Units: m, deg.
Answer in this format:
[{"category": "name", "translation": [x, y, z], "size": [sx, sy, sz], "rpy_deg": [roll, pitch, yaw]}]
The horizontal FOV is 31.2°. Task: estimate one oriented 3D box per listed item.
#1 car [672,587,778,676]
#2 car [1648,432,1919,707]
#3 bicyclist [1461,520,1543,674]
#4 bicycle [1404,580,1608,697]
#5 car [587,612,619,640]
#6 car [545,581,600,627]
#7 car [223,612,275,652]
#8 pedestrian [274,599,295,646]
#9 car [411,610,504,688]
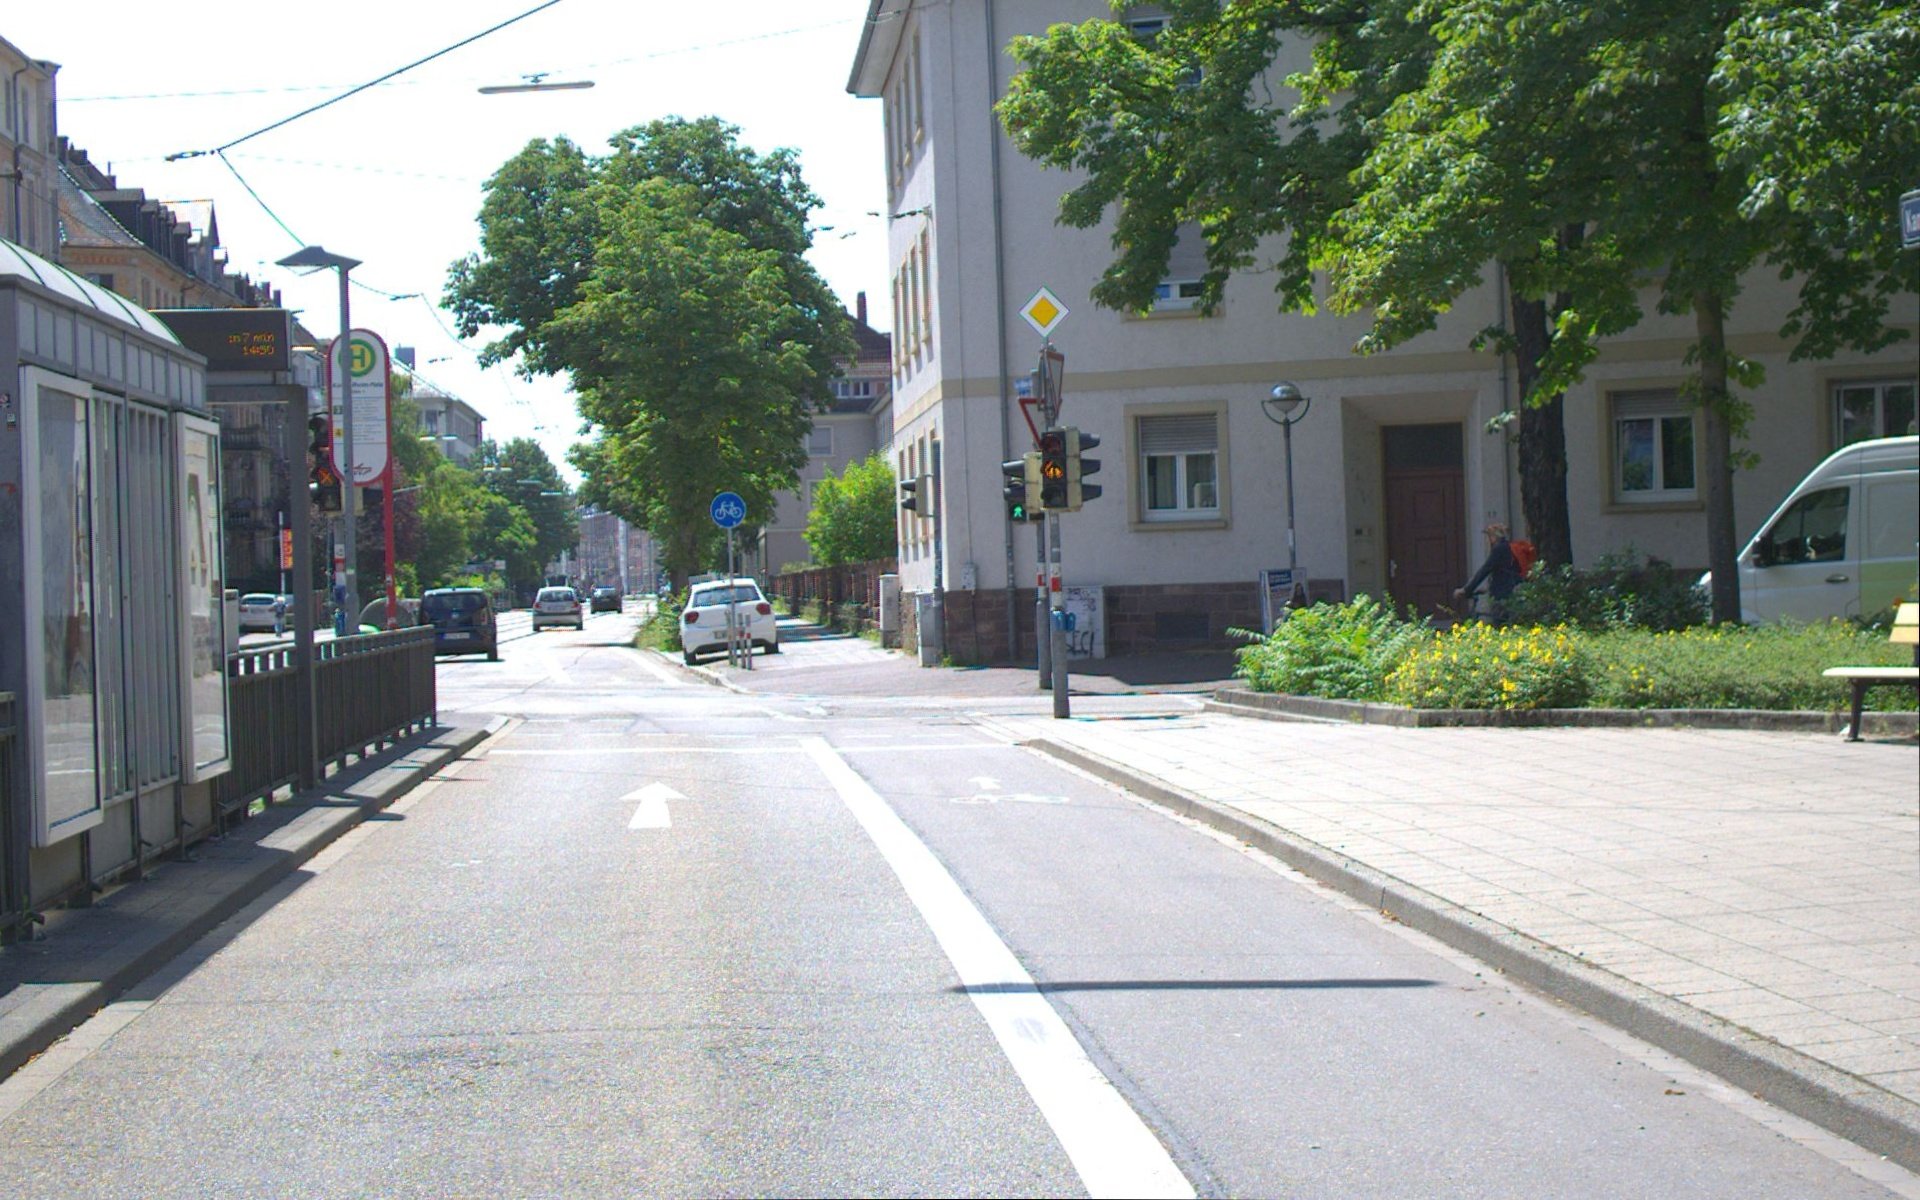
[{"category": "car", "translation": [-4.366, 0.574, 63.471], "size": [1.747, 1.468, 3.939], "rpy_deg": [-5, 0, -5]}, {"category": "car", "translation": [9.698, -0.311, 33.135], "size": [1.995, 2.581, 5.847], "rpy_deg": [-2, 0, -44]}, {"category": "bicyclist", "translation": [5.875, -0.028, 37.239], "size": [0.694, 1.640, 0.579], "rpy_deg": [-1, 0, 29]}, {"category": "bicycle", "translation": [5.906, 0.421, 37.233], "size": [2.084, 1.232, 0.580], "rpy_deg": [-1, 0, 29]}, {"category": "car", "translation": [-20.600, 1.525, 198.466], "size": [1.628, 1.468, 3.564], "rpy_deg": [-5, 0, -7]}, {"category": "car", "translation": [-13.214, 0.146, 117.353], "size": [1.747, 1.468, 3.939], "rpy_deg": [-2, 0, -5]}, {"category": "car", "translation": [-28.944, 1.299, 140.058], "size": [1.684, 1.468, 3.939], "rpy_deg": [-5, 0, -7]}, {"category": "pedestrian", "translation": [-25.267, 0.832, 128.505], "size": [0.677, 1.722, 0.677], "rpy_deg": [-1, 0, -5]}, {"category": "car", "translation": [-10.014, 0.962, 68.678], "size": [1.524, 1.439, 3.365], "rpy_deg": [-3, 0, -4]}]
